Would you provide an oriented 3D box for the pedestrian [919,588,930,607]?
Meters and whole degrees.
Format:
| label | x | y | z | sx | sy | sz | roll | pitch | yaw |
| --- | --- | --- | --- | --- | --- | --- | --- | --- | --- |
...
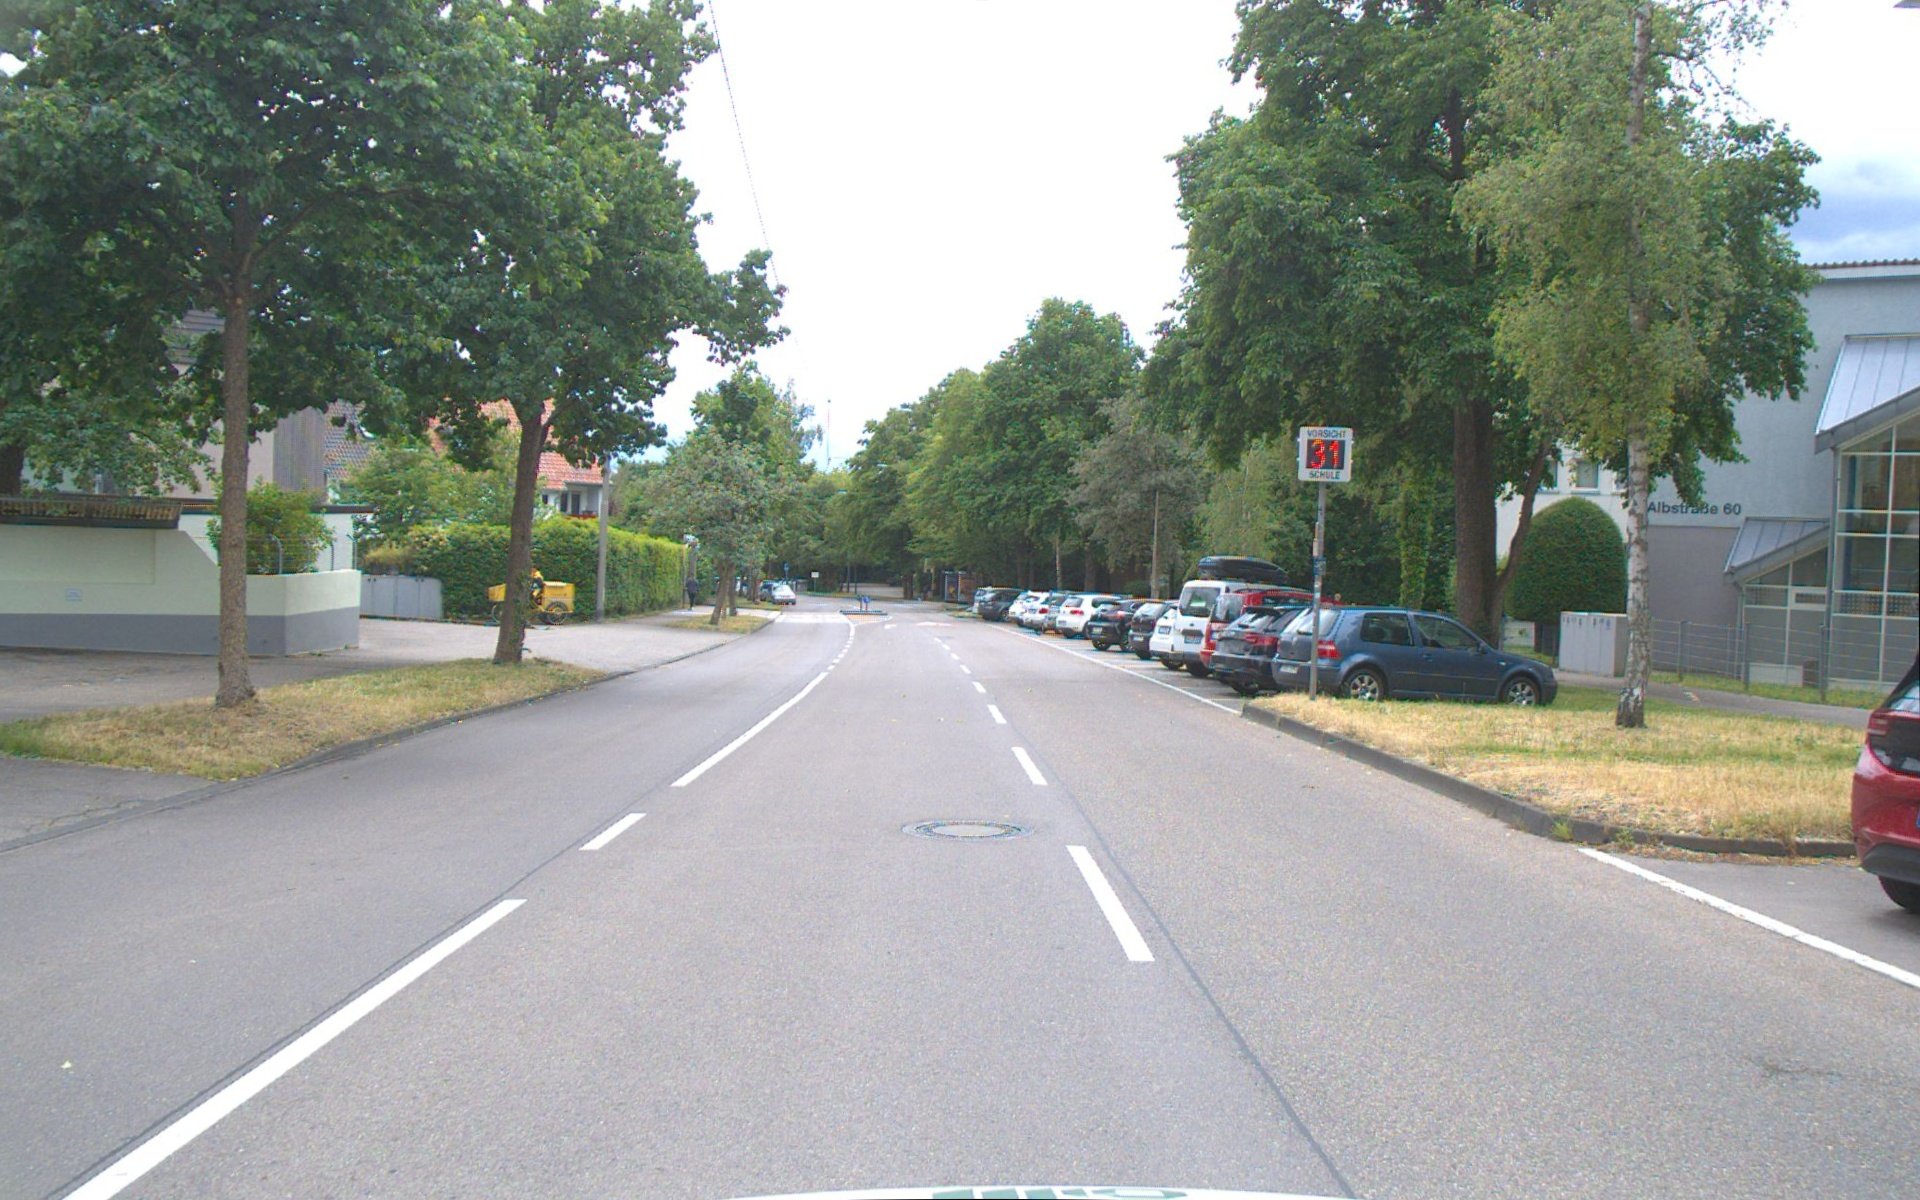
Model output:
| label | x | y | z | sx | sy | sz | roll | pitch | yaw |
| --- | --- | --- | --- | --- | --- | --- | --- | --- | --- |
| pedestrian | -2.932 | -0.217 | 136.814 | 0.725 | 1.597 | 0.652 | 1 | 0 | 10 |

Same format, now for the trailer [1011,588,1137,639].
| label | x | y | z | sx | sy | sz | roll | pitch | yaw |
| --- | --- | --- | --- | --- | --- | --- | --- | --- | --- |
| trailer | 4.025 | 0.463 | 58.460 | 4.094 | 1.600 | 1.702 | 3 | 0 | -21 |

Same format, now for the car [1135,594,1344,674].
| label | x | y | z | sx | sy | sz | roll | pitch | yaw |
| --- | --- | --- | --- | --- | --- | --- | --- | --- | --- |
| car | 5.907 | 0.711 | 35.036 | 3.903 | 1.474 | 1.910 | 3 | 0 | -17 |

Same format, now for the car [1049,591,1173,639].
| label | x | y | z | sx | sy | sz | roll | pitch | yaw |
| --- | --- | --- | --- | --- | --- | --- | --- | --- | --- |
| car | 5.146 | 0.508 | 56.311 | 3.831 | 1.474 | 1.732 | 2 | 0 | -23 |

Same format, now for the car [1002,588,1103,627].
| label | x | y | z | sx | sy | sz | roll | pitch | yaw |
| --- | --- | --- | --- | --- | --- | --- | --- | --- | --- |
| car | 3.876 | 0.315 | 69.507 | 3.828 | 1.454 | 1.733 | 2 | 0 | -21 |

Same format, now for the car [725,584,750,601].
| label | x | y | z | sx | sy | sz | roll | pitch | yaw |
| --- | --- | --- | --- | --- | --- | --- | --- | --- | --- |
| car | -20.056 | -0.708 | 149.159 | 1.835 | 1.496 | 3.986 | 1 | 0 | -14 |

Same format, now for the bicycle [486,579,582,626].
| label | x | y | z | sx | sy | sz | roll | pitch | yaw |
| --- | --- | --- | --- | --- | --- | --- | --- | --- | --- |
| bicycle | -12.528 | 0.081 | 48.677 | 2.609 | 1.288 | 0.841 | 2 | 1 | -25 |

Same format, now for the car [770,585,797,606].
| label | x | y | z | sx | sy | sz | roll | pitch | yaw |
| --- | --- | --- | --- | --- | --- | --- | --- | --- | --- |
| car | -12.931 | -0.334 | 121.089 | 1.832 | 1.496 | 3.993 | 1 | 0 | -8 |

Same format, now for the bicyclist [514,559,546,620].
| label | x | y | z | sx | sy | sz | roll | pitch | yaw |
| --- | --- | --- | --- | --- | --- | --- | --- | --- | --- |
| bicyclist | -12.640 | -0.309 | 48.591 | 0.702 | 1.727 | 0.841 | 2 | 1 | -25 |

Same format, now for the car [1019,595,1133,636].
| label | x | y | z | sx | sy | sz | roll | pitch | yaw |
| --- | --- | --- | --- | --- | --- | --- | --- | --- | --- |
| car | 4.273 | 0.575 | 61.045 | 3.836 | 1.332 | 1.730 | 2 | 0 | -26 |

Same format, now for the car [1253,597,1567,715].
| label | x | y | z | sx | sy | sz | roll | pitch | yaw |
| --- | --- | --- | --- | --- | --- | --- | --- | --- | --- |
| car | 6.325 | 0.781 | 23.353 | 3.900 | 1.430 | 1.749 | 3 | 0 | -16 |

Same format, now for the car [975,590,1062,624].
| label | x | y | z | sx | sy | sz | roll | pitch | yaw |
| --- | --- | --- | --- | --- | --- | --- | --- | --- | --- |
| car | 2.811 | 0.346 | 79.481 | 3.828 | 1.454 | 1.733 | 2 | 0 | -21 |

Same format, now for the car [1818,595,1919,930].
| label | x | y | z | sx | sy | sz | roll | pitch | yaw |
| --- | --- | --- | --- | --- | --- | --- | --- | --- | --- |
| car | 6.421 | 0.816 | 8.168 | 4.016 | 1.542 | 1.721 | 2 | 0 | -23 |

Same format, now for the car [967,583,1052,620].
| label | x | y | z | sx | sy | sz | roll | pitch | yaw |
| --- | --- | --- | --- | --- | --- | --- | --- | --- | --- |
| car | 2.470 | 0.077 | 82.261 | 3.828 | 1.697 | 1.733 | 2 | 0 | -21 |

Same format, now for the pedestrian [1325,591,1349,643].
| label | x | y | z | sx | sy | sz | roll | pitch | yaw |
| --- | --- | --- | --- | --- | --- | --- | --- | --- | --- |
| pedestrian | 12.114 | 0.542 | 53.162 | 0.636 | 1.631 | 0.744 | 1 | 0 | 4 |

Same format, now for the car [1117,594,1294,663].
| label | x | y | z | sx | sy | sz | roll | pitch | yaw |
| --- | --- | --- | --- | --- | --- | --- | --- | --- | --- |
| car | 5.945 | 0.695 | 40.188 | 3.829 | 1.474 | 1.833 | 3 | 0 | -21 |

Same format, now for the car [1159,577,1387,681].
| label | x | y | z | sx | sy | sz | roll | pitch | yaw |
| --- | --- | --- | --- | --- | --- | --- | --- | --- | --- |
| car | 6.010 | 0.557 | 31.664 | 4.039 | 1.785 | 1.771 | 3 | 0 | -28 |

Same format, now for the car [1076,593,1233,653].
| label | x | y | z | sx | sy | sz | roll | pitch | yaw |
| --- | --- | --- | --- | --- | --- | --- | --- | --- | --- |
| car | 5.310 | 0.624 | 45.148 | 3.835 | 1.474 | 1.830 | 2 | 0 | -25 |

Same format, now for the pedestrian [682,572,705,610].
| label | x | y | z | sx | sy | sz | roll | pitch | yaw |
| --- | --- | --- | --- | --- | --- | --- | --- | --- | --- |
| pedestrian | -12.384 | -0.414 | 76.756 | 0.955 | 1.761 | 0.848 | 1 | 0 | -5 |

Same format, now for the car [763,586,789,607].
| label | x | y | z | sx | sy | sz | roll | pitch | yaw |
| --- | --- | --- | --- | --- | --- | --- | --- | --- | --- |
| car | -14.129 | -0.275 | 126.633 | 1.832 | 1.496 | 3.993 | 1 | 0 | -8 |

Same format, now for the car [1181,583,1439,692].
| label | x | y | z | sx | sy | sz | roll | pitch | yaw |
| --- | --- | --- | --- | --- | --- | --- | --- | --- | --- |
| car | 6.051 | 0.639 | 28.701 | 3.934 | 1.648 | 1.876 | 3 | 0 | -17 |

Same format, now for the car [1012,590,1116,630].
| label | x | y | z | sx | sy | sz | roll | pitch | yaw |
| --- | --- | --- | --- | --- | --- | --- | --- | --- | --- |
| car | 4.208 | 0.414 | 66.939 | 3.828 | 1.454 | 1.733 | 2 | 0 | -21 |

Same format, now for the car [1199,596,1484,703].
| label | x | y | z | sx | sy | sz | roll | pitch | yaw |
| --- | --- | --- | --- | --- | --- | --- | --- | --- | --- |
| car | 5.897 | 0.763 | 25.636 | 3.967 | 1.430 | 1.747 | 3 | 0 | -19 |
